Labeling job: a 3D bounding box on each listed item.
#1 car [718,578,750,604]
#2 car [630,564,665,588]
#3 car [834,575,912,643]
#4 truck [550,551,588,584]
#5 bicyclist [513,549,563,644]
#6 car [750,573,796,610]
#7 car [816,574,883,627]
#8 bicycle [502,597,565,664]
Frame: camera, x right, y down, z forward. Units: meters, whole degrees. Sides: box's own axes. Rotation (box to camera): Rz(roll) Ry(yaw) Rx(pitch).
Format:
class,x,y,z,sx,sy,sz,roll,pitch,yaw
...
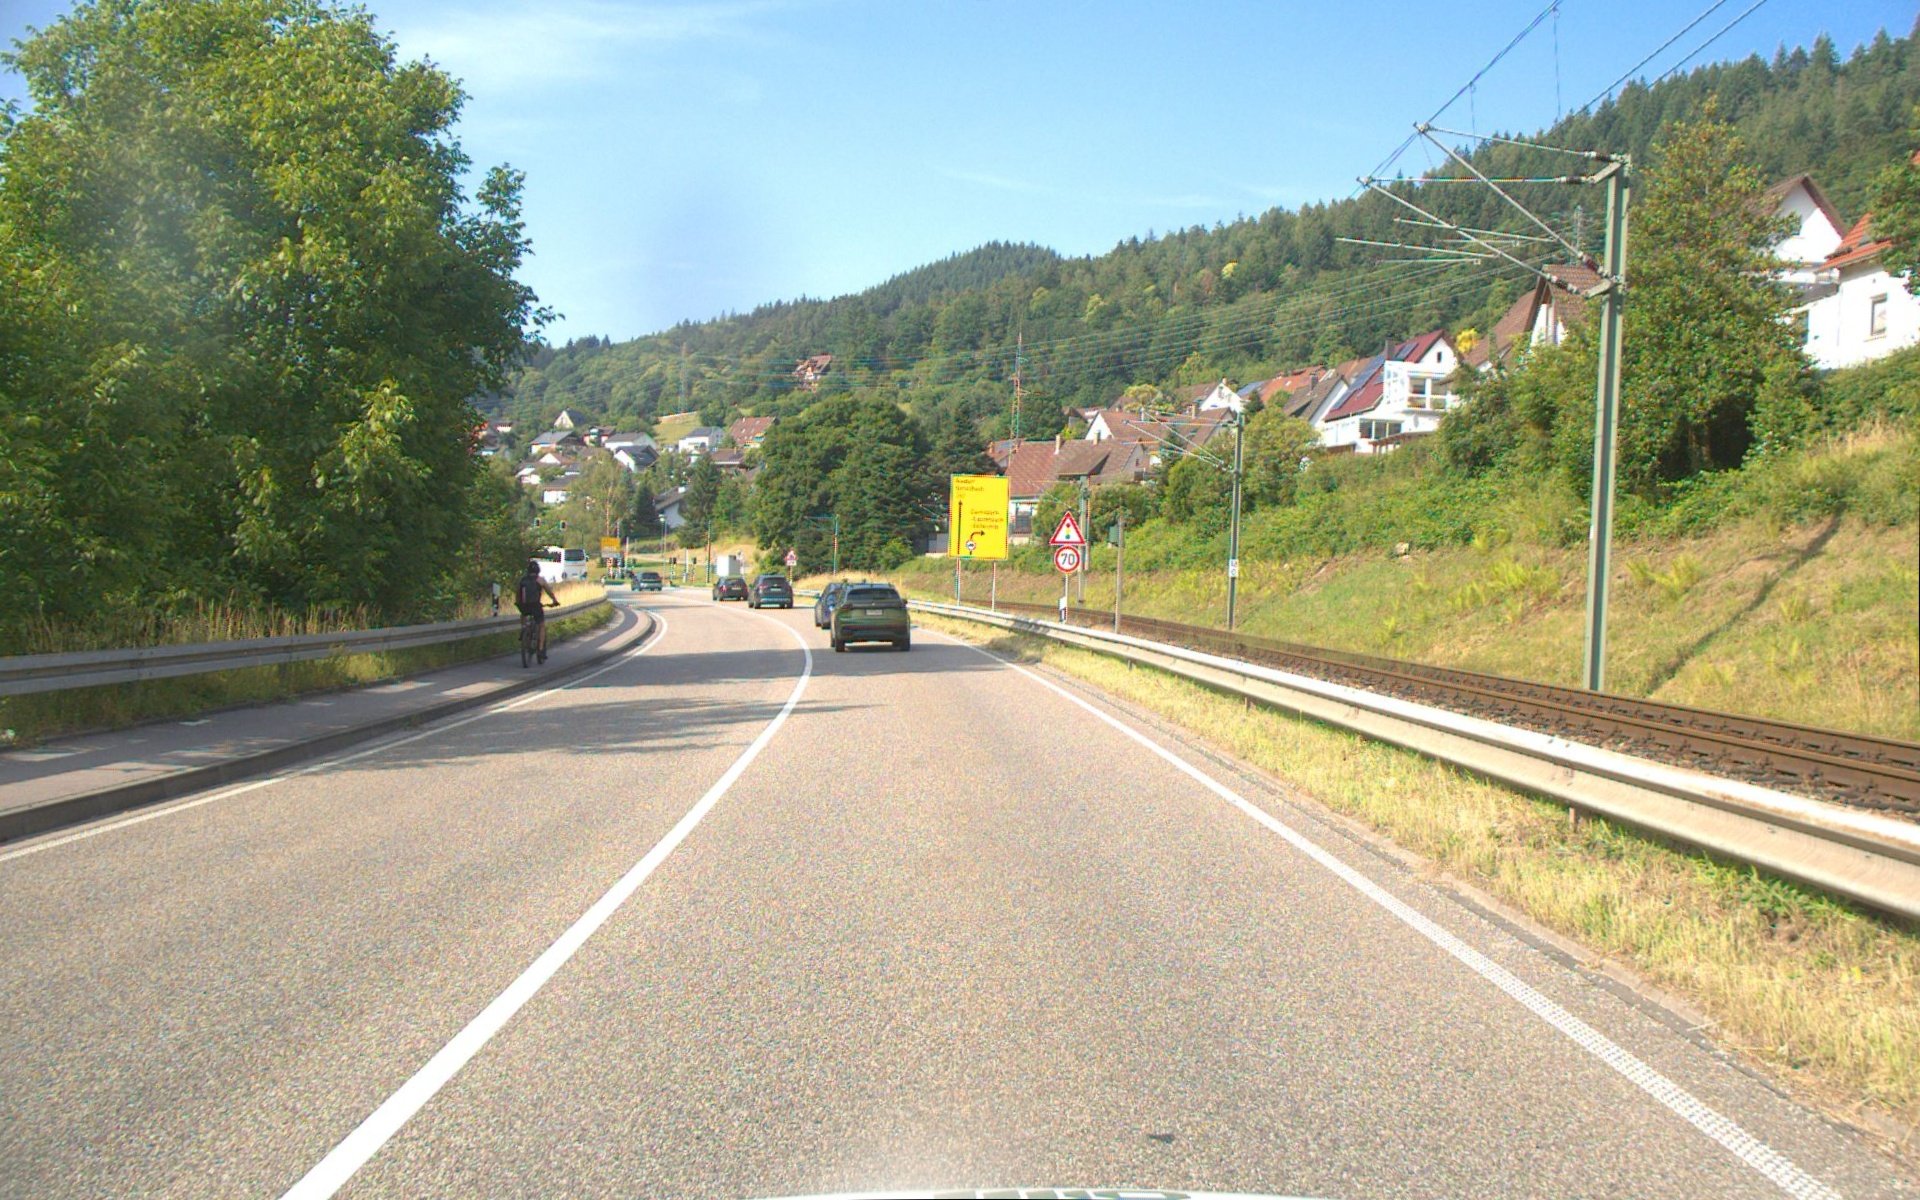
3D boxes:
class,x,y,z,sx,sy,sz,roll,pitch,yaw
car,-13.955,-0.576,102.116,1.816,1.553,3.653,0,1,-11
car,-25.834,-1.978,136.747,2.035,1.842,3.973,2,1,-23
car,-2.067,0.169,38.455,1.681,1.480,3.996,-1,1,-5
truck,-39.122,-3.301,165.371,2.676,3.137,6.065,1,1,-23
bicyclist,-7.416,-0.071,29.078,0.546,1.614,1.035,4,0,-3
car,-9.328,-0.450,82.375,1.847,1.716,3.988,2,0,-12
car,-3.554,-0.023,52.786,1.637,1.586,3.990,2,0,-11
bicycle,-7.489,0.520,29.137,0.546,1.063,2.228,4,1,-2
